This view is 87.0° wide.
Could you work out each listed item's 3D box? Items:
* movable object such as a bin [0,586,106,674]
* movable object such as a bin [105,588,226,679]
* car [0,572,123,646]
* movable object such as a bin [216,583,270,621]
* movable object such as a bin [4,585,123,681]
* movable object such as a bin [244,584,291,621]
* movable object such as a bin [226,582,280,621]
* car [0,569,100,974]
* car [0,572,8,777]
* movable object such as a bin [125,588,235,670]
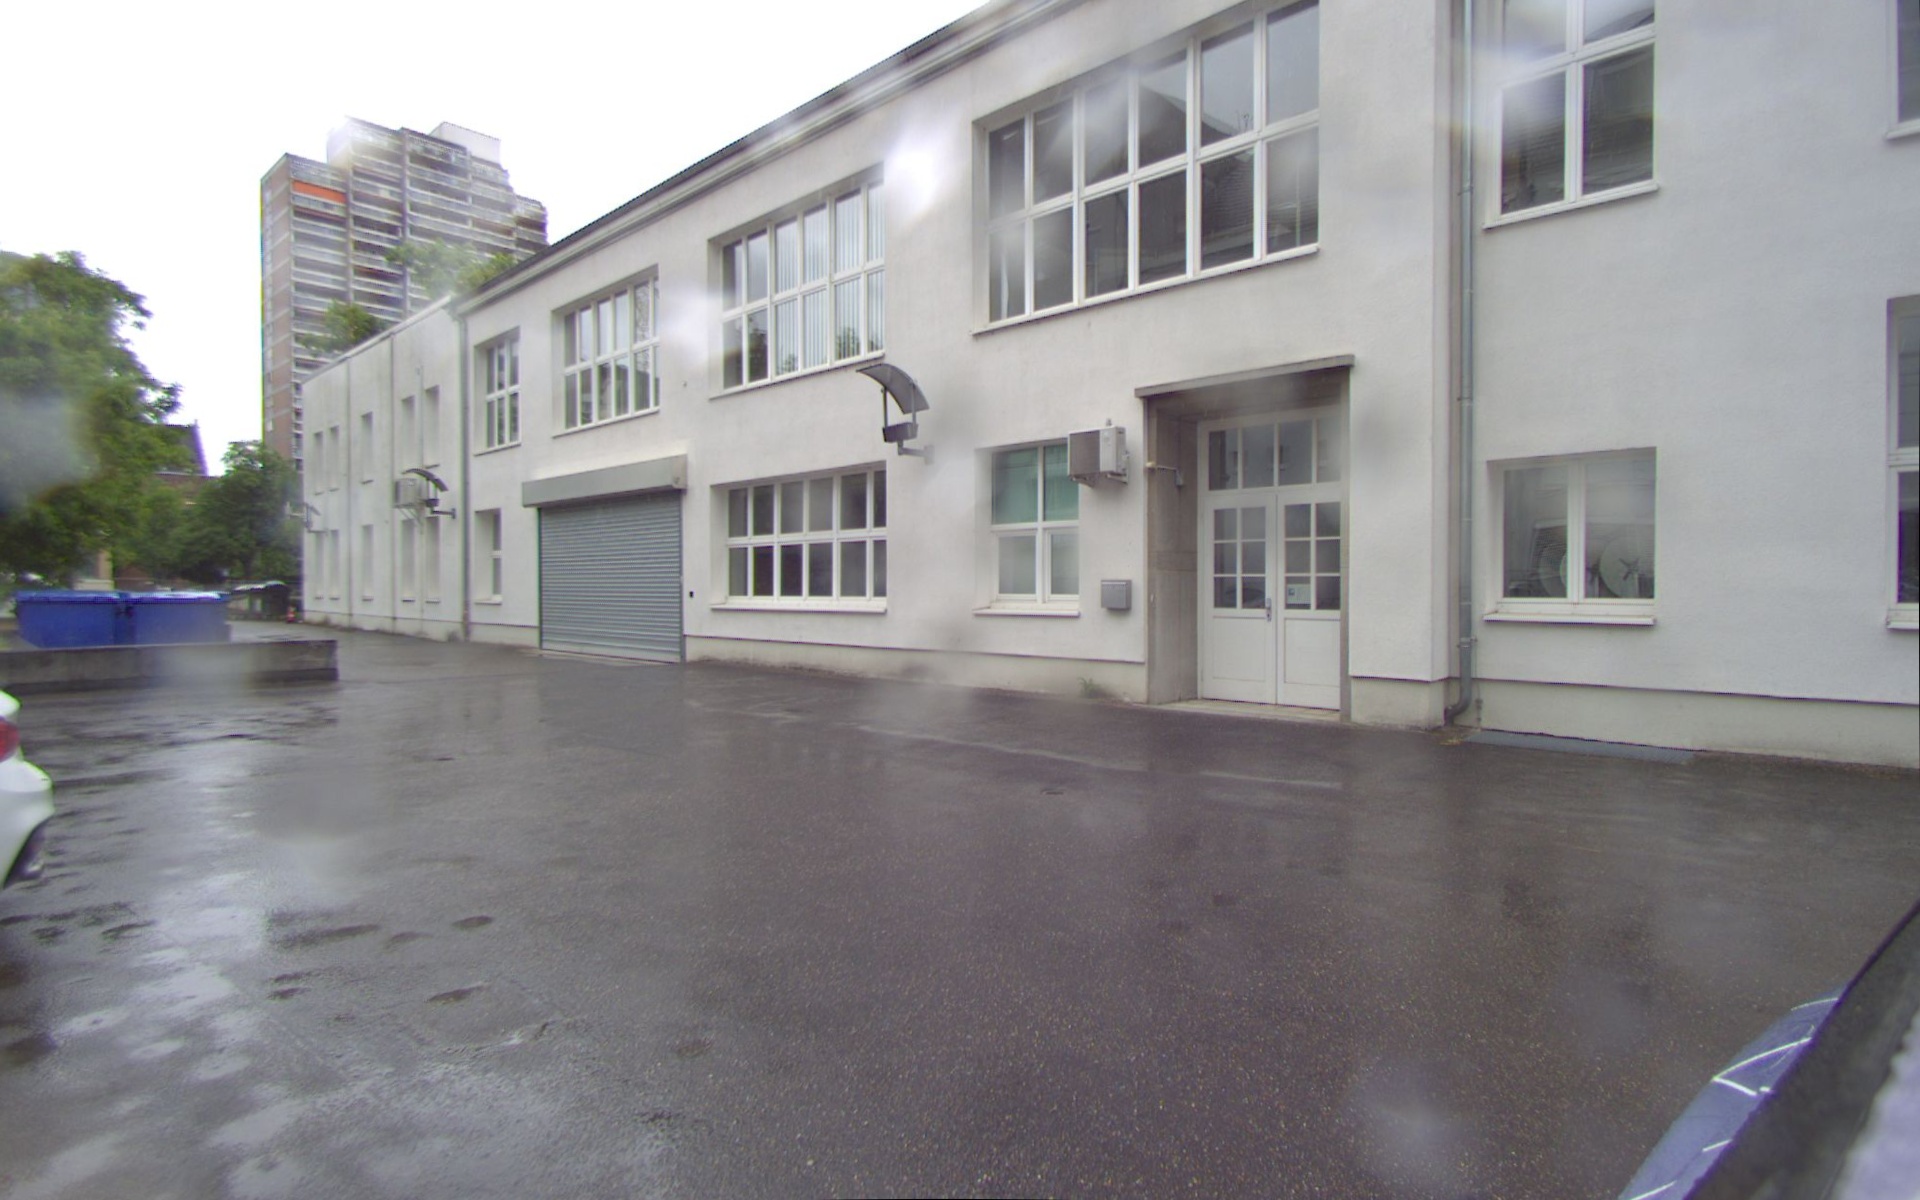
[{"bbox_3d":[-15.561,0.497,17.320,1.963,1.375,1.214,-2,0,44],"label":"movable object such as a bin"},{"bbox_3d":[-13.244,0.538,16.860,1.898,1.375,1.293,-2,0,44],"label":"movable object such as a bin"},{"bbox_3d":[-26.059,0.295,27.734,4.622,1.905,2.117,-3,0,-45],"label":"car"},{"bbox_3d":[-29.518,0.067,41.659,1.307,1.466,1.472,-2,0,39],"label":"movable object such as a bin"},{"bbox_3d":[-14.131,0.494,15.932,1.963,1.375,1.214,-2,0,44],"label":"movable object such as a bin"},{"bbox_3d":[-27.232,0.089,39.812,1.307,1.391,1.172,-2,0,39],"label":"movable object such as a bin"},{"bbox_3d":[-28.491,0.062,40.792,1.307,1.466,1.472,-2,0,39],"label":"movable object such as a bin"},{"bbox_3d":[-5.477,0.674,3.033,1.990,1.508,4.161,0,1,40],"label":"car"},{"bbox_3d":[-9.143,0.591,6.542,1.990,1.508,4.161,0,1,40],"label":"car"},{"bbox_3d":[-14.305,0.524,18.547,1.898,1.375,1.293,-2,0,44],"label":"movable object such as a bin"}]
